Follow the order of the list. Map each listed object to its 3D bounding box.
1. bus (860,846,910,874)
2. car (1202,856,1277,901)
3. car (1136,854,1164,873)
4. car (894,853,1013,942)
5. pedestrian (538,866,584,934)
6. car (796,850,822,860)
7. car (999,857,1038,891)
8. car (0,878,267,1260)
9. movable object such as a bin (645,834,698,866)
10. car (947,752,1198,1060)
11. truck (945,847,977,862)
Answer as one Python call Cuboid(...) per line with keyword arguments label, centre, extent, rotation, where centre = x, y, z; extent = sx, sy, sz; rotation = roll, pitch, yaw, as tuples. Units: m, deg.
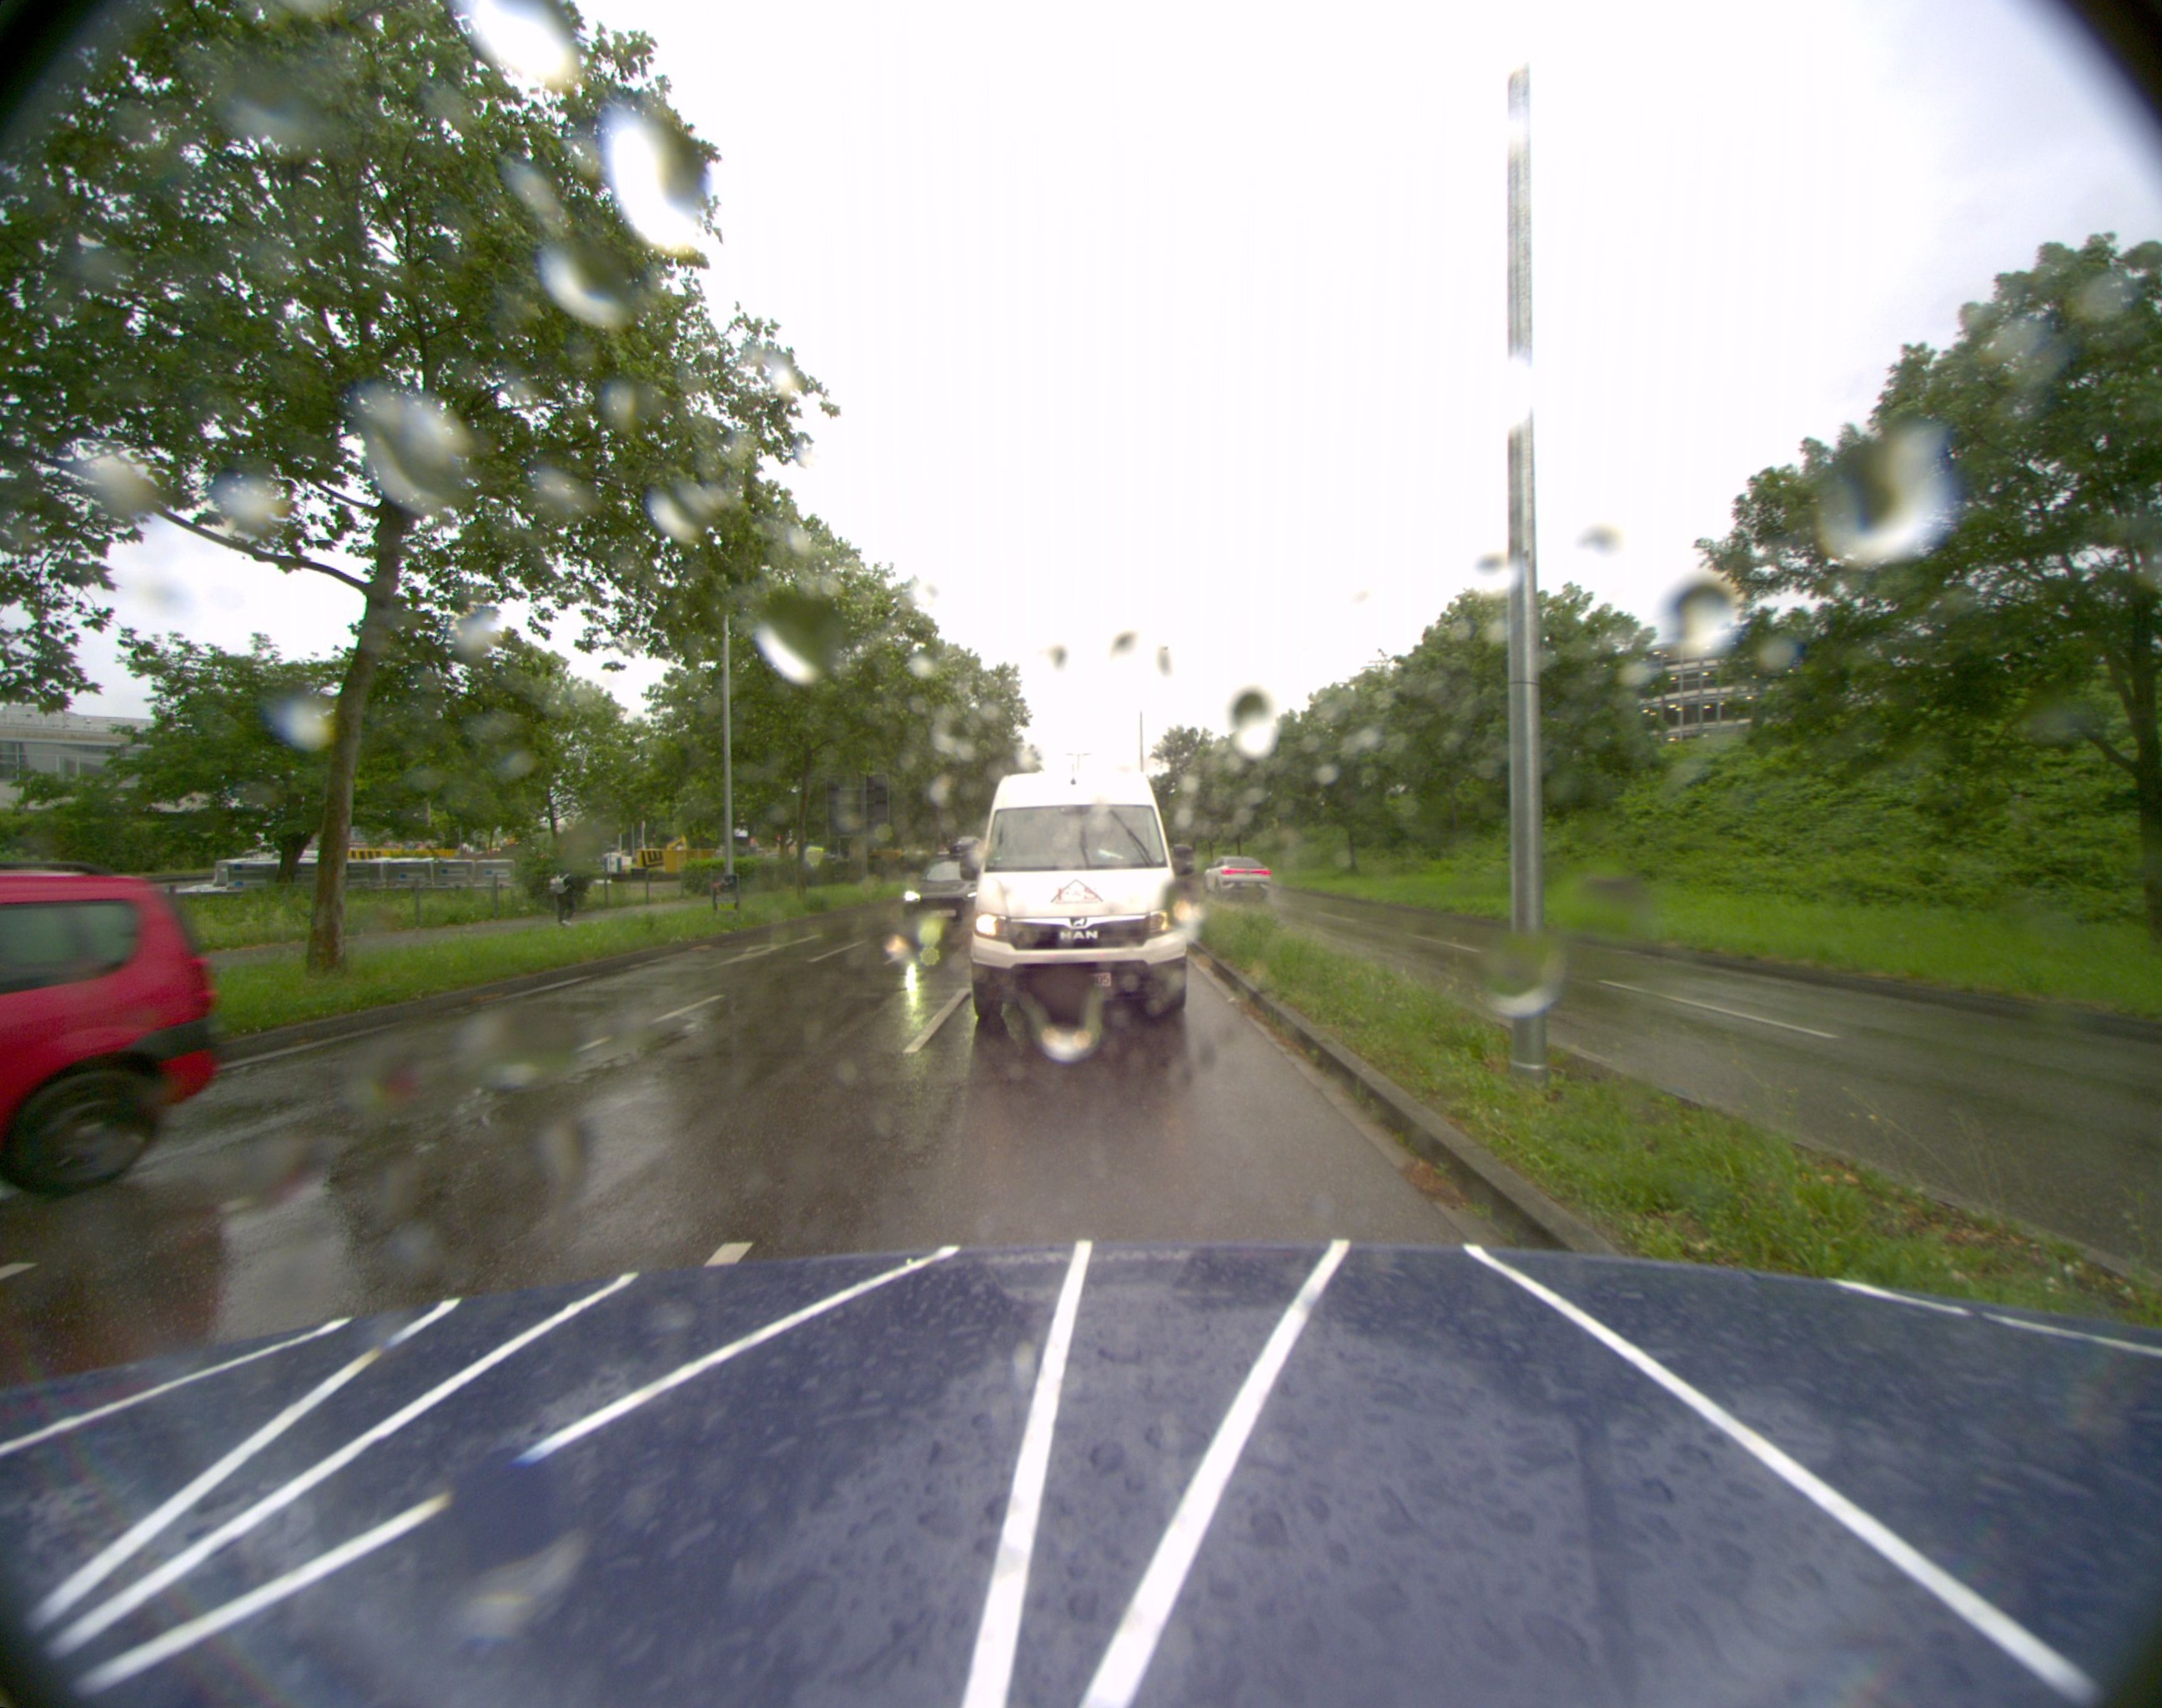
Cuboid(label="bus", centre=(-19.136, 0.566, 74.378), extent=(4.370, 2.553, 1.711), rotation=(-2, 1, 0))
Cuboid(label="car", centre=(5.829, 0.861, 28.382), extent=(1.891, 1.510, 4.301), rotation=(1, 0, 0))
Cuboid(label="car", centre=(5.780, 0.765, 63.974), extent=(1.959, 1.510, 4.254), rotation=(1, 0, 0))
Cuboid(label="car", centre=(-2.692, 0.853, 17.075), extent=(1.894, 1.688, 4.423), rotation=(-1, 0, 0))
Cuboid(label="pedestrian", centre=(-13.633, 1.193, 19.940), extent=(0.646, 1.707, 0.656), rotation=(-2, 1, 1))
Cuboid(label="car", centre=(-36.770, 0.129, 102.843), extent=(3.154, 1.321, 1.427), rotation=(-3, 1, -26))
Cuboid(label="car", centre=(-2.942, 0.919, 36.404), extent=(1.573, 1.454, 3.389), rotation=(-2, 0, 0))
Cuboid(label="car", centre=(-5.797, 1.051, 2.413), extent=(1.715, 1.684, 4.271), rotation=(-2, 1, 0))
Cuboid(label="movable object such as a bin", centre=(-47.662, -0.471, 88.488), extent=(4.936, 3.415, 1.917), rotation=(-2, 1, -4))
Cuboid(label="car", centre=(-0.117, 0.423, 9.099), extent=(2.027, 2.498, 5.695), rotation=(-1, 0, -1))
Cuboid(label="truck", centre=(-20.980, 0.084, 132.606), extent=(5.061, 2.363, 1.792), rotation=(-3, 1, -30))
